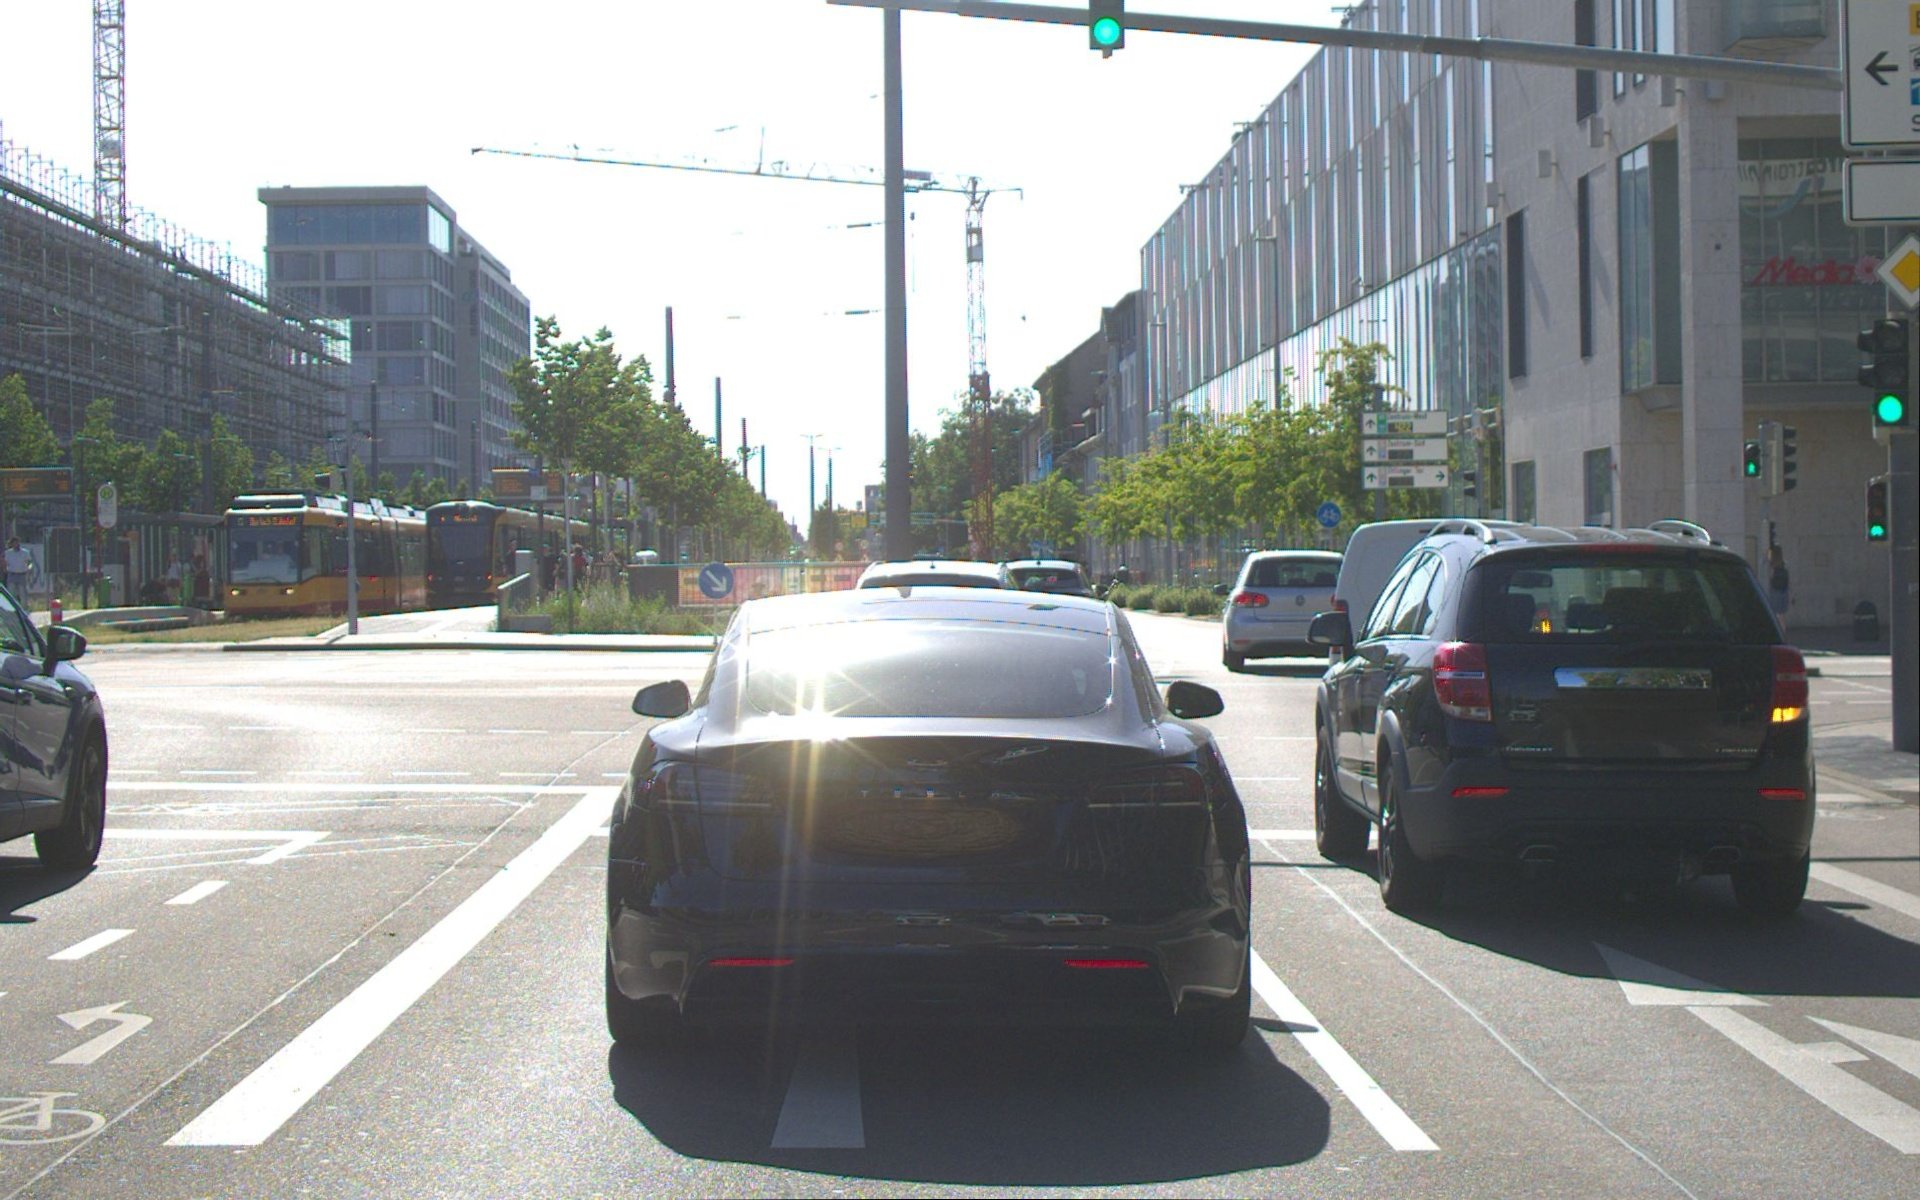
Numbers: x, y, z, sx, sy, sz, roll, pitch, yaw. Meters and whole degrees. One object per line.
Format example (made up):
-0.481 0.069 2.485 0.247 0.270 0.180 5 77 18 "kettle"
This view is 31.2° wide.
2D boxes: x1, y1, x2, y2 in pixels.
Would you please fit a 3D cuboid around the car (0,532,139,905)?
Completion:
-4.967 0.481 15.179 1.770 1.583 4.088 1 1 -1 "car"

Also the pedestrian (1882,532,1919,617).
18.110 -0.500 65.806 0.747 1.602 0.557 -1 1 -2 "pedestrian"

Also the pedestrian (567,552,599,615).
-9.795 -0.430 89.332 0.741 1.623 0.861 0 0 0 "pedestrian"

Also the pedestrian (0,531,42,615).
-20.720 -0.593 75.633 0.800 1.817 0.976 -1 1 -4 "pedestrian"

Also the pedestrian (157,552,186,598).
-21.282 -0.682 92.843 0.671 1.222 0.506 1 0 -4 "pedestrian"

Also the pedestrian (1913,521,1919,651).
13.723 -0.202 46.797 0.967 1.795 1.523 -3 1 -1 "pedestrian"

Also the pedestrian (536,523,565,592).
-10.666 -1.120 89.564 0.703 1.769 0.959 1 1 -4 "pedestrian"

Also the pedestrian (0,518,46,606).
-19.709 -0.797 72.183 0.800 1.817 0.976 -1 1 -4 "pedestrian"

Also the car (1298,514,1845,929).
2.723 0.461 16.303 1.784 1.693 4.413 0 1 0 "car"

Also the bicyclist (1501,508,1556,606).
10.197 -0.774 61.671 0.724 1.731 0.998 -1 0 -5 "bicyclist"

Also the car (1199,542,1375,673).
4.023 0.057 42.870 1.784 1.540 4.039 0 1 0 "car"

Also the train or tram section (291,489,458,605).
-18.028 -1.546 106.986 2.847 3.310 15.967 1 0 -2 "train or tram section"

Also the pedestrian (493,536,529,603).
-12.086 -0.813 92.497 0.874 1.769 1.189 1 1 -4 "pedestrian"

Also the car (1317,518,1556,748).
3.935 0.216 28.055 1.785 1.728 4.162 0 1 9 "car"

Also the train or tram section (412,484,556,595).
-15.081 -1.888 110.038 2.870 3.268 15.186 1 1 -2 "train or tram section"

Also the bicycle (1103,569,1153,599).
6.844 -0.669 139.946 1.881 1.147 0.672 -2 0 -11 "bicycle"

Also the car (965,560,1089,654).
0.962 0.079 51.229 1.716 1.315 4.000 0 1 -1 "car"

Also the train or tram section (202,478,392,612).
-17.658 -1.450 92.470 2.870 3.298 13.074 1 1 -2 "train or tram section"

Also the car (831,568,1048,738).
-0.190 0.404 29.363 1.716 1.315 4.000 0 1 -1 "car"

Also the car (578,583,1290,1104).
-0.086 0.675 11.879 1.999 1.429 4.413 0 1 0 "car"
